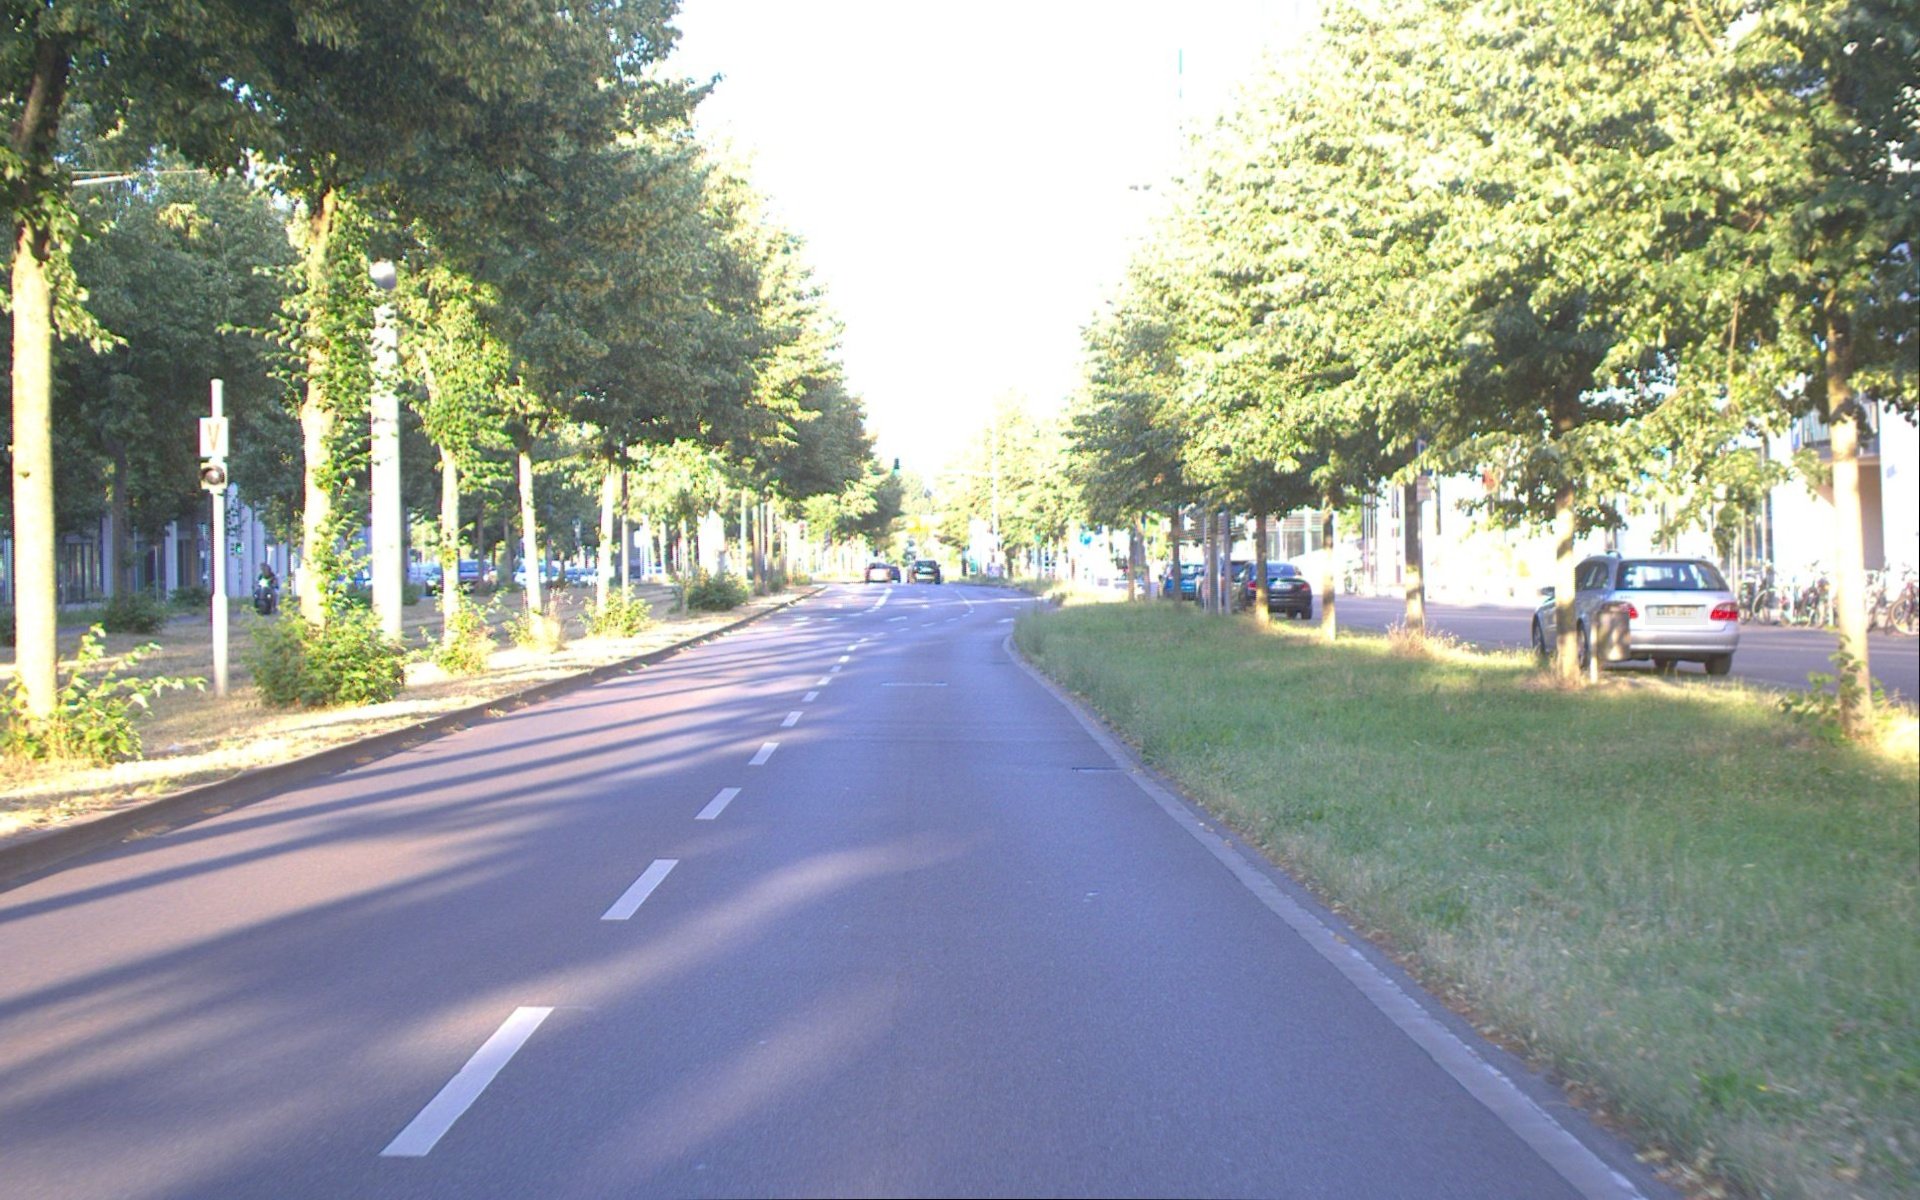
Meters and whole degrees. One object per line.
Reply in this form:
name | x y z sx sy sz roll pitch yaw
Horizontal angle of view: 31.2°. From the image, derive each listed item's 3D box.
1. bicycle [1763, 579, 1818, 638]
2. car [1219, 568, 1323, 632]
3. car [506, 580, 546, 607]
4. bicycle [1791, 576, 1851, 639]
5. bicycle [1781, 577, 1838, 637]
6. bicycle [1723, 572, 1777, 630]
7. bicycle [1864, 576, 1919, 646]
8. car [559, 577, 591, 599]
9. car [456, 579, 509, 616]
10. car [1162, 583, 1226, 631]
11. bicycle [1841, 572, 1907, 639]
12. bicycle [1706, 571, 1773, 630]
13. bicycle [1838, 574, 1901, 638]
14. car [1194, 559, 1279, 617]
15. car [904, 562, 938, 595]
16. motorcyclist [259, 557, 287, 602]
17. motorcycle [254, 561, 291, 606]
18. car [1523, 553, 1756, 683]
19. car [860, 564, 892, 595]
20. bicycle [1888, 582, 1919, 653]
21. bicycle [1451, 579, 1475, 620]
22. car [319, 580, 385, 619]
bicycle | 15.159 0.148 62.761 0.533 1.057 1.857 -1 0 0
car | 7.787 -0.012 86.366 1.943 1.543 4.812 -1 0 -3
car | -22.379 -0.349 177.409 1.657 1.327 4.530 -1 0 -2
bicycle | 15.089 0.124 60.264 0.533 1.057 1.857 -3 1 0
bicycle | 15.741 0.122 63.710 0.533 1.057 1.857 -3 0 0
bicycle | 15.111 0.017 65.781 0.533 1.057 1.857 -3 1 0
bicycle | 14.854 0.166 54.416 0.533 1.057 1.857 -3 1 0
car | -25.247 -0.801 225.448 1.776 1.406 3.709 -1 0 -2
car | -21.305 -0.119 153.527 1.885 1.572 4.183 -1 0 -2
car | 7.635 0.203 112.372 1.724 1.524 4.268 1 0 -1
bicycle | 15.042 0.083 56.634 0.533 1.057 1.857 -3 1 0
bicycle | 14.415 0.000 63.603 0.533 1.057 1.781 -3 1 -10
bicycle | 15.643 0.095 59.191 0.533 1.057 1.857 -3 1 0
car | 7.496 -0.340 93.470 1.854 1.524 4.483 1 0 -1
car | -2.395 -1.346 211.581 1.993 2.007 4.000 -1 1 -1
motorcyclist | -21.149 -0.635 105.874 0.681 1.371 0.804 -1 0 -1
motorcycle | -21.151 -0.509 105.805 0.682 1.332 2.345 -1 0 -1
car | 8.329 0.185 42.540 1.808 1.496 4.826 -1 1 -1
car | -5.569 -1.378 227.968 2.087 2.007 4.000 -1 1 -1
bicycle | 14.848 0.259 52.367 0.533 1.057 1.857 -3 1 -13
bicycle | 14.566 -0.019 99.474 0.571 1.120 1.833 -3 1 11
car | -24.357 -0.018 137.815 1.918 1.503 4.287 -1 0 -1
